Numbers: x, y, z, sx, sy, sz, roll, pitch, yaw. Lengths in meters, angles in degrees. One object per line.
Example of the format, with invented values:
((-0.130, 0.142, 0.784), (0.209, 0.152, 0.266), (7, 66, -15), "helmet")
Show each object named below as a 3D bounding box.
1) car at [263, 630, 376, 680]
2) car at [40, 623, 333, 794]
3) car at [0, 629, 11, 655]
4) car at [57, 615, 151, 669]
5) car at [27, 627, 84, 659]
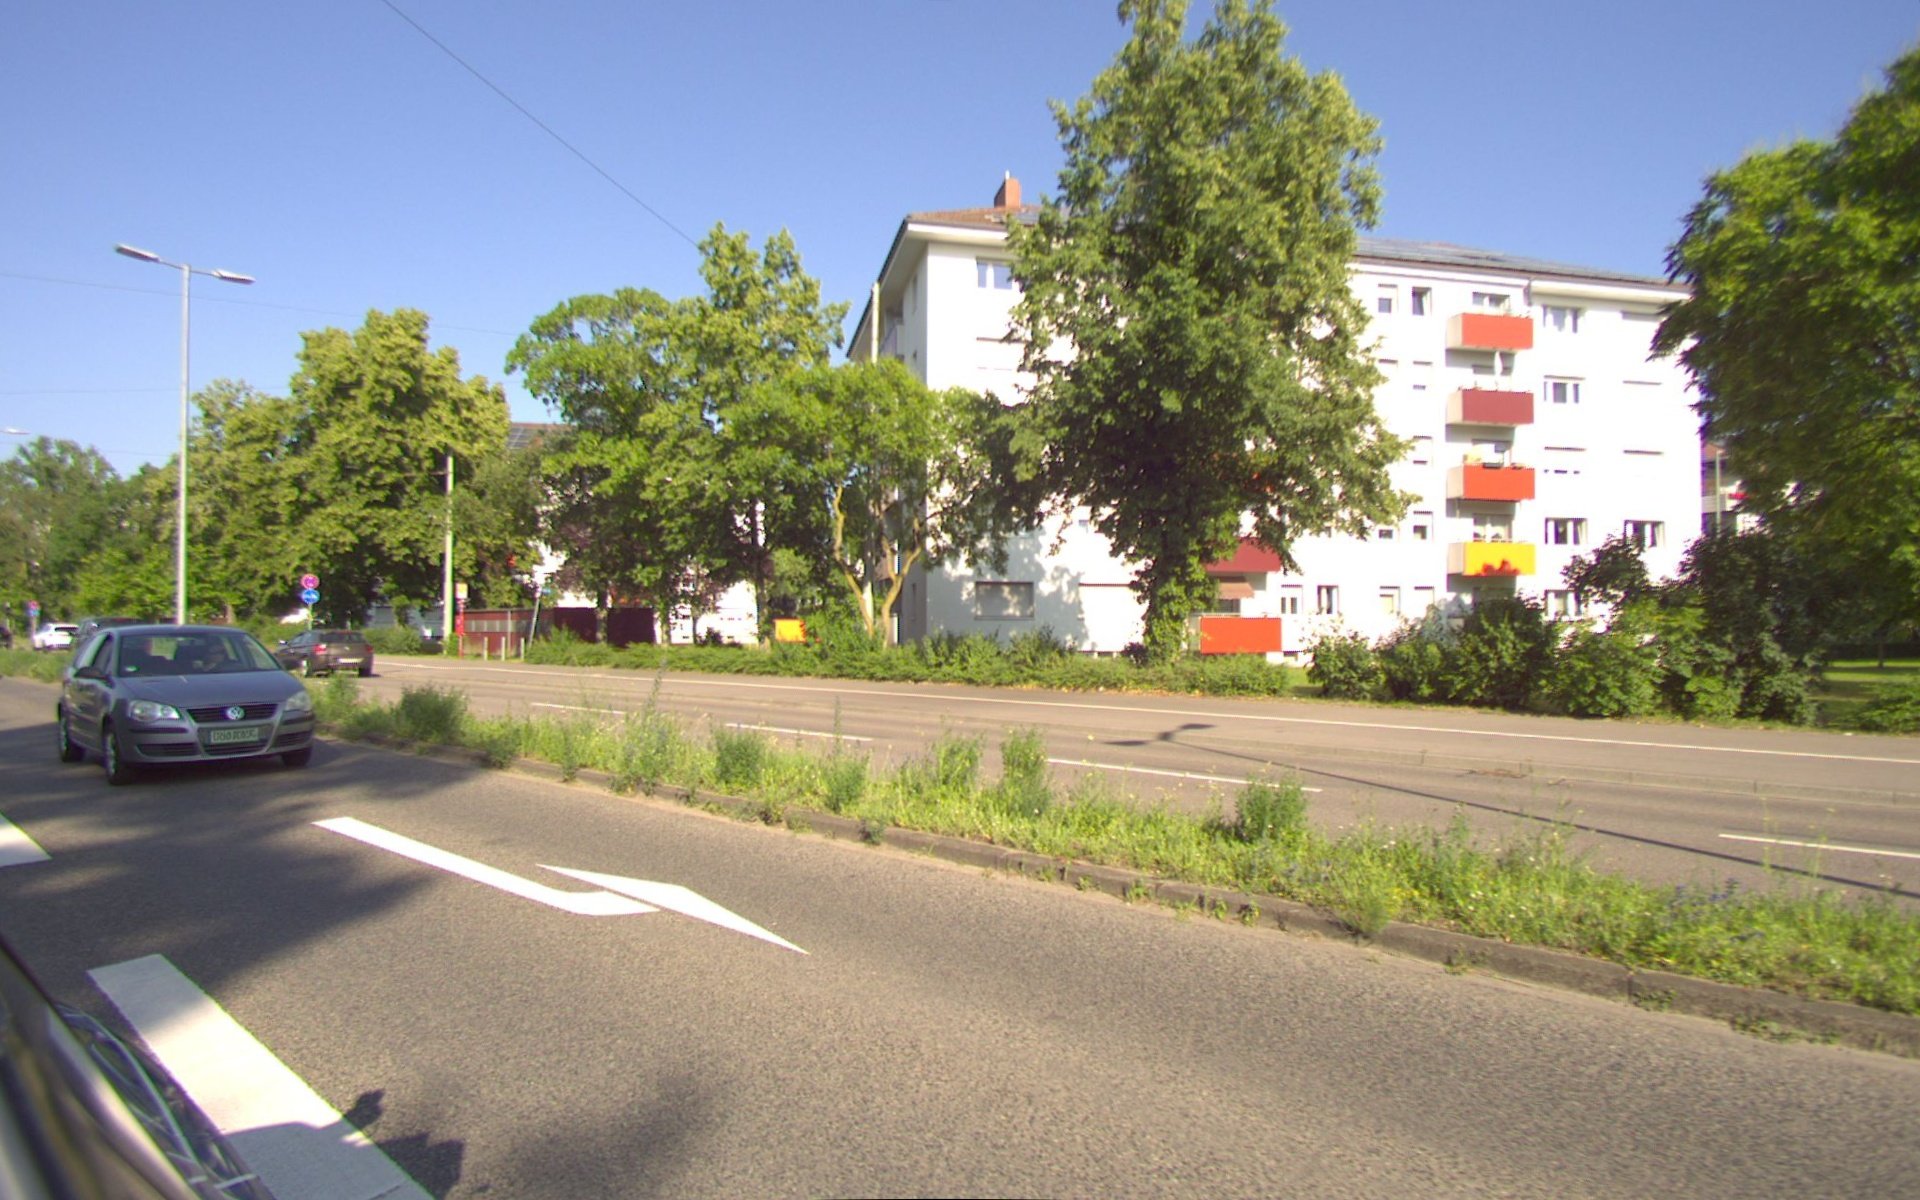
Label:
((-19.683, 1.661, 31.036), (4.323, 1.430, 1.706), (-2, -3, 41), "car")
((-8.150, 0.984, 10.546), (3.830, 1.439, 1.671), (-2, -1, 40), "car")
((-65.596, 2.814, 68.222), (4.044, 1.692, 1.752), (-1, -2, 39), "car")
((-30.238, 1.471, 35.718), (4.477, 1.798, 1.772), (-2, -2, 40), "car")
((-49.375, 2.355, 55.220), (4.512, 1.692, 1.642), (-2, -4, 41), "car")
